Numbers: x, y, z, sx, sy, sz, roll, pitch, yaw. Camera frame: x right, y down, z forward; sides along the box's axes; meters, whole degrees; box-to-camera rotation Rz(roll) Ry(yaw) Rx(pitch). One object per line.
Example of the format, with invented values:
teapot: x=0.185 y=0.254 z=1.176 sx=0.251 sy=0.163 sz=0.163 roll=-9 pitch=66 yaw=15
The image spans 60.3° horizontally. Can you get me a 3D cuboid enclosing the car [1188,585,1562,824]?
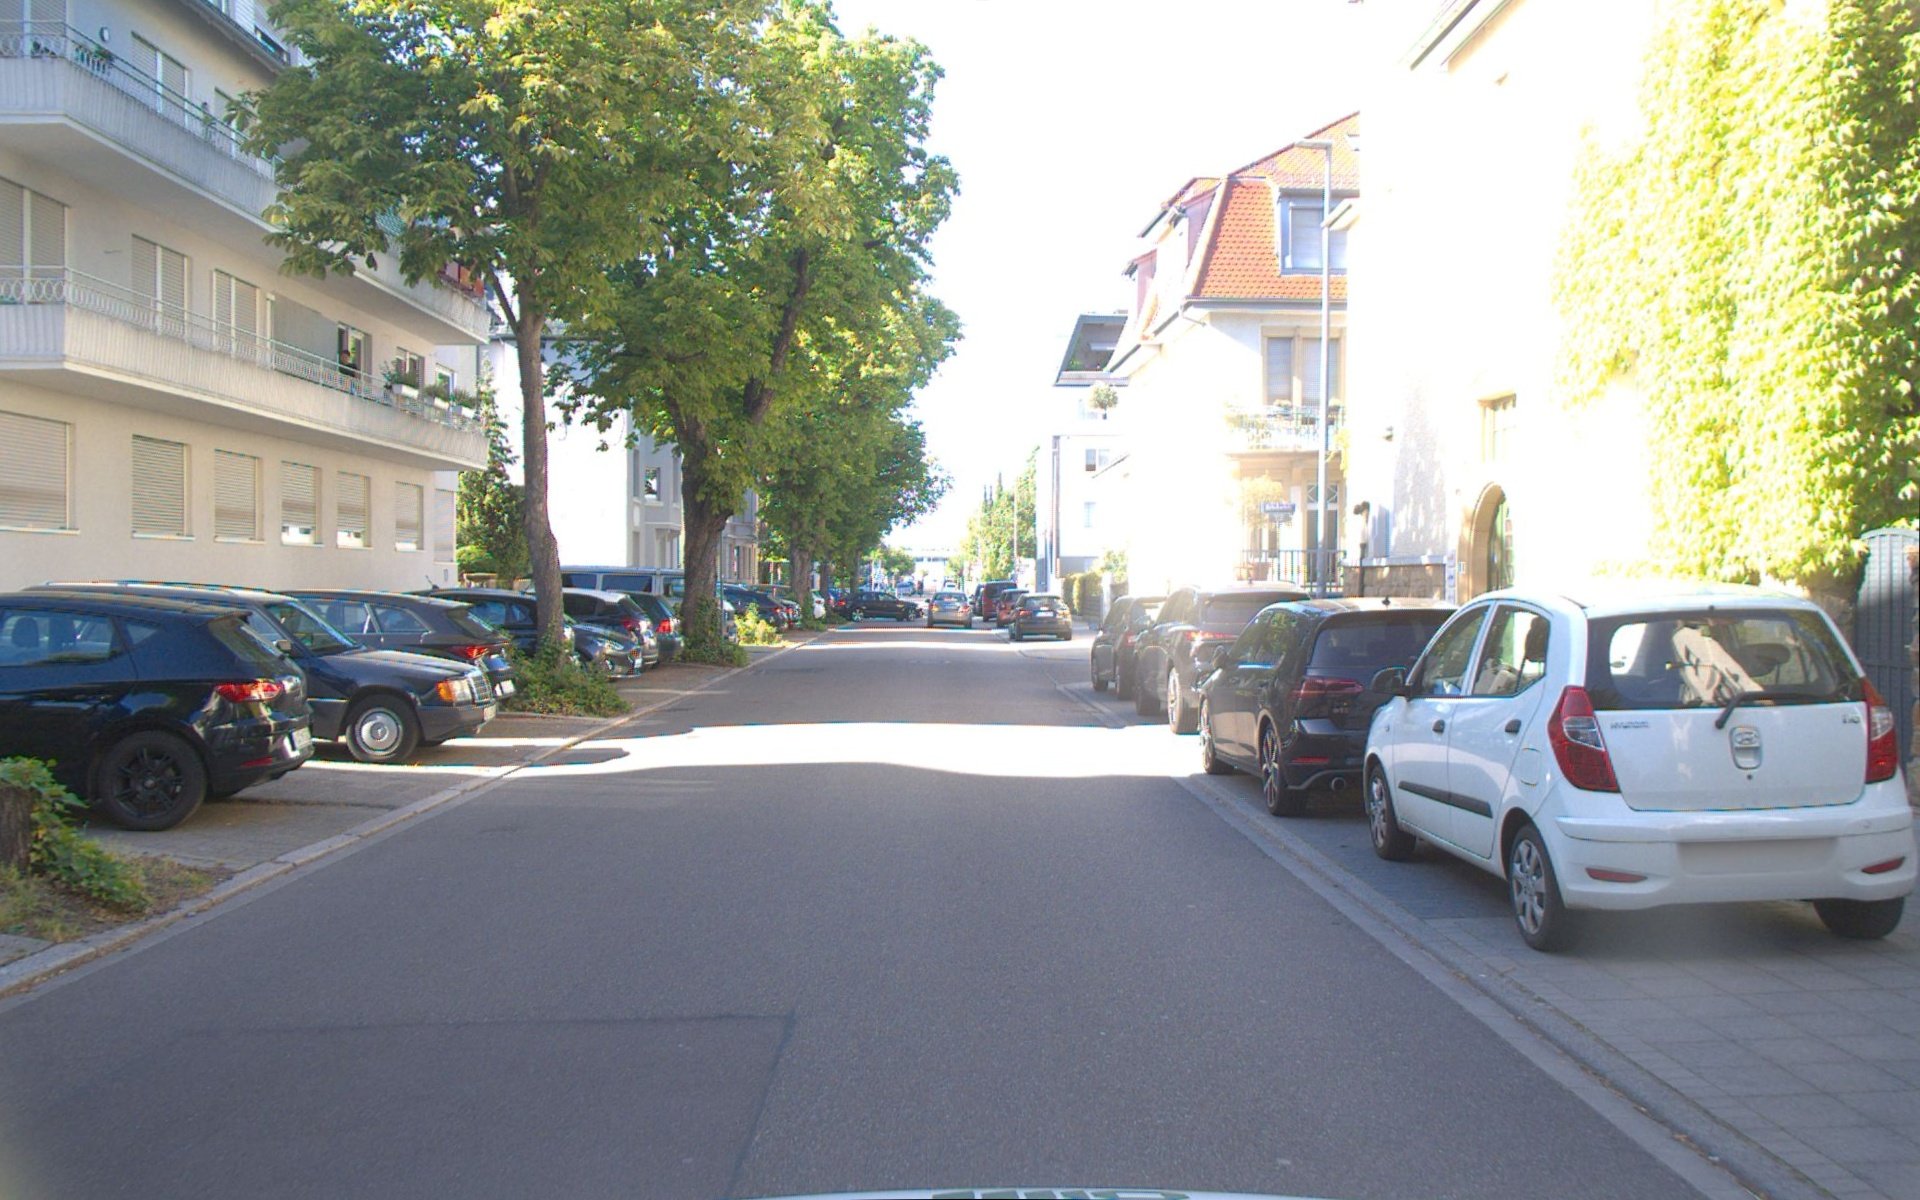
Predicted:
car: x=2.940 y=0.682 z=12.649 sx=1.675 sy=1.461 sz=4.192 roll=-2 pitch=-1 yaw=-1

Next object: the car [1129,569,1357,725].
car: x=3.109 y=0.497 z=19.052 sx=1.755 sy=1.547 sz=4.365 roll=-1 pitch=-1 yaw=-1

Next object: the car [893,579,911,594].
car: x=-6.598 y=-1.556 z=188.945 sx=1.836 sy=1.758 sz=3.996 roll=0 pitch=1 yaw=-5

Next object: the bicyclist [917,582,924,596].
bicyclist: x=-4.311 y=-1.196 z=180.514 sx=0.706 sy=1.563 sz=1.137 roll=0 pitch=0 yaw=-1

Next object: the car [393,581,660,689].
car: x=-6.553 y=0.521 z=25.249 sx=3.569 sy=1.488 sz=1.710 roll=2 pitch=0 yaw=1

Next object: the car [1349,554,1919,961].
car: x=3.181 y=0.634 z=8.302 sx=1.543 sy=1.576 sz=3.467 roll=-1 pitch=-1 yaw=-1

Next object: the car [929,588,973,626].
car: x=-0.340 y=0.251 z=65.216 sx=1.691 sy=1.445 sz=3.960 roll=0 pitch=0 yaw=0

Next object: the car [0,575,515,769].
car: x=-6.536 y=0.605 z=15.302 sx=4.505 sy=1.635 sz=1.829 roll=0 pitch=0 yaw=-10

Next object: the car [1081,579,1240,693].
car: x=2.920 y=0.515 z=24.903 sx=1.629 sy=1.547 sz=3.998 roll=-1 pitch=-1 yaw=-4

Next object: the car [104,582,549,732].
car: x=-6.688 y=0.585 z=17.789 sx=4.103 sy=1.466 sz=1.712 roll=1 pitch=0 yaw=-2

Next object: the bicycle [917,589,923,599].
bicycle: x=-4.365 y=-0.622 z=180.414 sx=0.705 sy=1.098 sz=1.890 roll=0 pitch=0 yaw=0

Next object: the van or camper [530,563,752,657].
van or camper: x=-6.814 y=0.205 z=35.679 sx=4.406 sy=1.948 sz=1.964 roll=0 pitch=0 yaw=-1

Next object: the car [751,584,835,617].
car: x=-8.053 y=-0.002 z=79.907 sx=3.907 sy=1.446 sz=1.771 roll=1 pitch=2 yaw=-2

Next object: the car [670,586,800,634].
car: x=-7.130 y=0.310 z=52.704 sx=3.906 sy=1.494 sz=1.696 roll=0 pitch=0 yaw=-2

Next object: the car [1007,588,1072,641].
car: x=2.411 y=0.424 z=50.844 sx=1.587 sy=1.465 sz=3.933 roll=-2 pitch=1 yaw=-3

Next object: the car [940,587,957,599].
car: x=-1.371 y=-0.856 z=191.452 sx=1.689 sy=1.353 sz=3.996 roll=0 pitch=0 yaw=-5

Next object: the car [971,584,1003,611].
car: x=1.565 y=-0.156 z=96.769 sx=1.701 sy=1.558 sz=4.178 roll=0 pitch=0 yaw=-1

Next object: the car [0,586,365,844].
car: x=-6.132 y=0.718 z=10.984 sx=3.800 sy=1.540 sz=1.829 roll=-1 pitch=0 yaw=-10

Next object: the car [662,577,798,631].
car: x=-7.715 y=0.123 z=55.826 sx=4.296 sy=1.681 sz=1.823 roll=-1 pitch=2 yaw=0

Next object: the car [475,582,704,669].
car: x=-6.743 y=0.449 z=30.401 sx=3.844 sy=1.439 sz=1.715 roll=2 pitch=1 yaw=-3

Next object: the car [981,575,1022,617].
car: x=1.955 y=-0.166 z=79.908 sx=1.833 sy=1.938 sz=5.197 roll=-1 pitch=0 yaw=0

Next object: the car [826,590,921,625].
car: x=-4.064 y=0.349 z=78.059 sx=4.132 sy=1.473 sz=1.700 roll=2 pitch=-1 yaw=-23

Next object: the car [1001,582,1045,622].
car: x=2.532 y=0.073 z=67.193 sx=1.560 sy=1.506 sz=3.246 roll=-2 pitch=0 yaw=-1

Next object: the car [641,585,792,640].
car: x=-6.961 y=0.344 z=47.534 sx=4.102 sy=1.525 sz=1.861 roll=0 pitch=0 yaw=-2

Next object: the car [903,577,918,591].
car: x=-6.357 y=-2.064 z=212.249 sx=1.751 sy=1.558 sz=3.999 roll=4 pitch=0 yaw=-1

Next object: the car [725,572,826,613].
car: x=-7.529 y=-0.318 z=67.848 sx=3.941 sy=1.510 sz=1.806 roll=2 pitch=0 yaw=-2

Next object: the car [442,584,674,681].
car: x=-6.682 y=0.532 z=27.776 sx=3.407 sy=1.483 sz=1.797 roll=2 pitch=0 yaw=0

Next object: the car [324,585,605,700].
car: x=-6.765 y=0.578 z=22.875 sx=3.411 sy=1.445 sz=1.708 roll=2 pitch=-1 yaw=-6
